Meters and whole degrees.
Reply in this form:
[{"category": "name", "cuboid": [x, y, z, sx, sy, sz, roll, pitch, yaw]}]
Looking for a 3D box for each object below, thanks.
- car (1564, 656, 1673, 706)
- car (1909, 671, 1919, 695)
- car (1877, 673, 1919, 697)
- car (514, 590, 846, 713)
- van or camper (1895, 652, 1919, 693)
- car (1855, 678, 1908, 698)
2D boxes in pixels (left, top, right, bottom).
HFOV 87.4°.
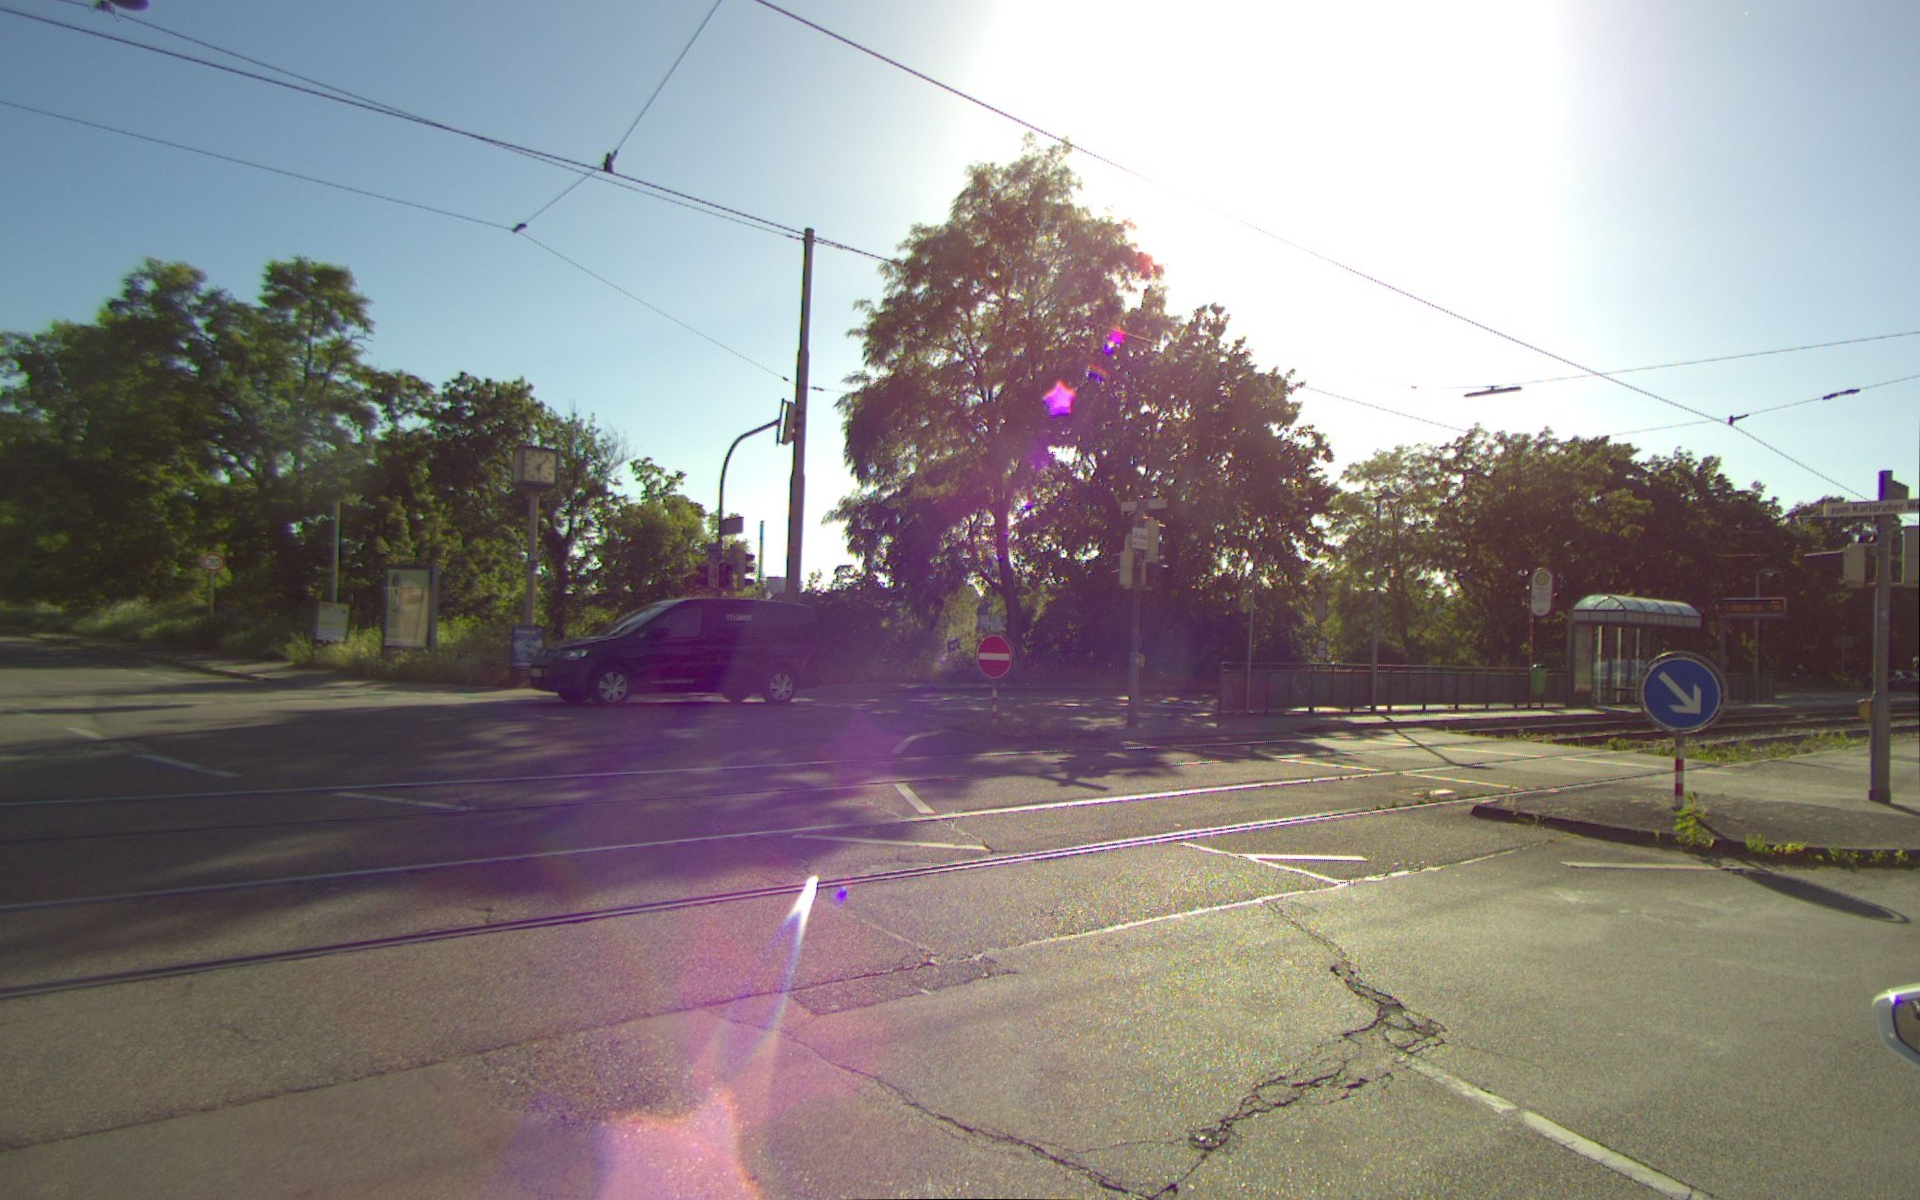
[{"category": "car", "cuboid": [22.029, 2.699, 33.555, 3.963, 1.486, 1.792, 4, -2, -36]}, {"category": "car", "cuboid": [63.152, 5.443, 64.913, 4.336, 1.489, 1.979, 4, -2, -37]}, {"category": "car", "cuboid": [70.621, 6.364, 75.272, 3.959, 1.582, 1.909, 3, -2, -34]}, {"category": "car", "cuboid": [-4.626, 0.917, 17.021, 4.986, 1.790, 1.979, 5, -3, -37]}, {"category": "van or camper", "cuboid": [76.365, 5.770, 79.270, 6.724, 3.147, 2.572, 3, -2, -36]}, {"category": "car", "cuboid": [65.979, 6.284, 71.914, 3.959, 1.283, 1.909, 3, -2, -34]}]
